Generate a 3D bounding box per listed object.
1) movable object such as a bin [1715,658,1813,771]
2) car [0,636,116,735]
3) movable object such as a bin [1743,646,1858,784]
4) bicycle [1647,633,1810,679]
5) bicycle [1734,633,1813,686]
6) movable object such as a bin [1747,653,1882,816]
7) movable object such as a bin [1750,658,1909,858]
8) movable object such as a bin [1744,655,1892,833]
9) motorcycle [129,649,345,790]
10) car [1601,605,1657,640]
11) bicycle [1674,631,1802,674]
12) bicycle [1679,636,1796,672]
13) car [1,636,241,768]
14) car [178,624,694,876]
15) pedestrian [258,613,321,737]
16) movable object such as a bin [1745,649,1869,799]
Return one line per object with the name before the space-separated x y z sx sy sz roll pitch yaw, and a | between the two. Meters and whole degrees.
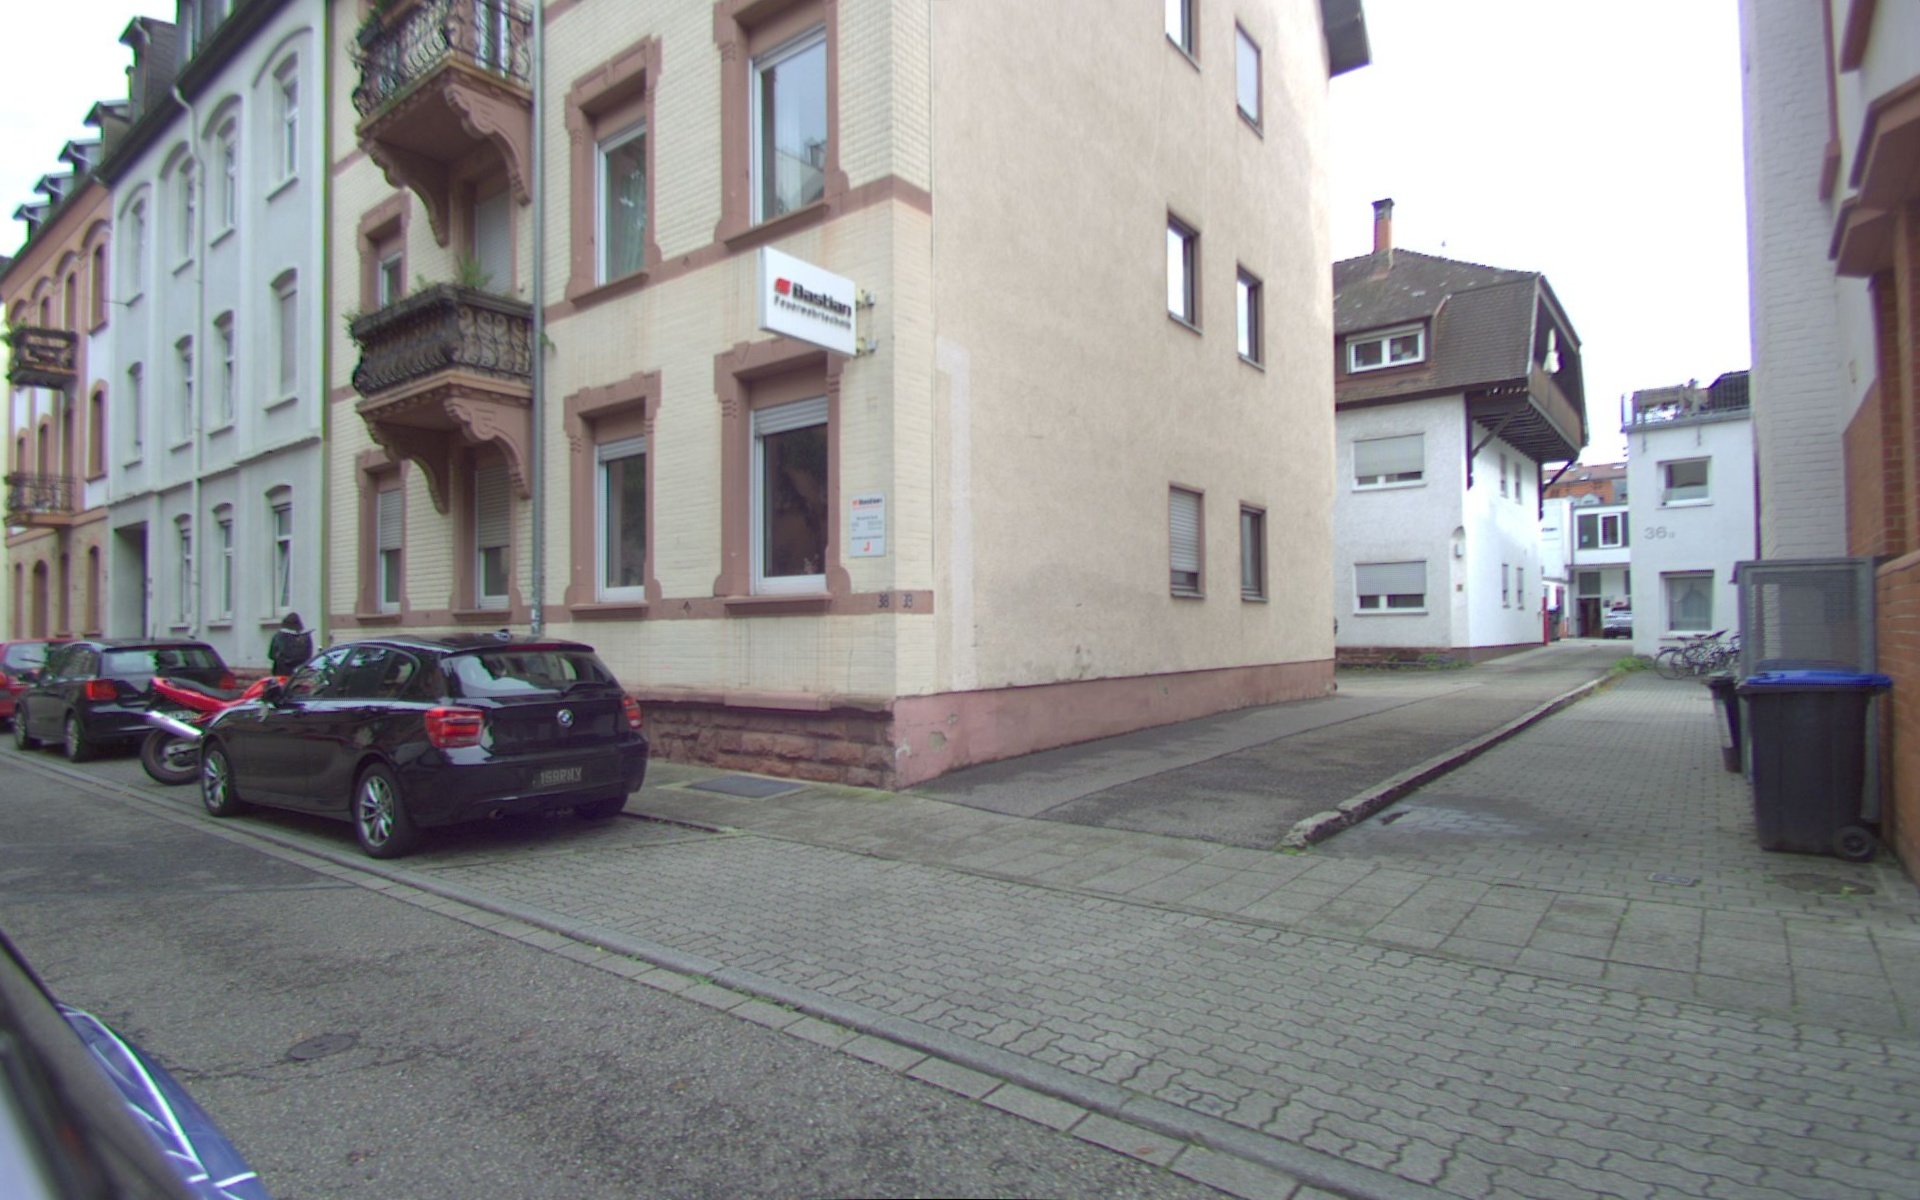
movable object such as a bin | 7.214 1.005 9.094 0.640 0.942 0.602 -3 -2 39
car | -15.416 1.350 16.702 3.337 1.483 1.591 -2 -2 37
movable object such as a bin | 6.966 0.922 8.411 0.678 1.060 0.683 -3 -2 39
bicycle | 17.508 1.260 23.156 2.848 0.998 0.778 0 -1 18
bicycle | 17.074 1.227 21.241 1.816 1.032 0.551 0 -2 -26
movable object such as a bin | 6.054 0.917 7.199 0.667 1.060 0.669 -3 -2 39
movable object such as a bin | 5.112 0.887 5.986 0.646 1.060 0.683 -3 -2 39
movable object such as a bin | 5.623 0.906 6.664 0.678 1.060 0.657 -3 -2 39
motorcycle | -7.059 1.127 9.964 1.685 1.235 0.487 0 -2 -34
car | 31.316 1.051 47.346 1.849 1.519 3.949 -2 -2 38
bicycle | 18.531 1.256 24.188 2.313 0.988 0.658 -2 -2 30
bicycle | 19.125 1.317 24.934 2.222 0.847 0.673 -3 -2 42
car | -10.699 1.195 12.842 3.467 1.393 1.640 -2 -1 38
car | -4.081 0.934 7.684 3.991 1.401 1.883 -2 -2 36
pedestrian | -9.013 0.987 13.607 0.543 1.621 0.571 -3 -2 38
movable object such as a bin | 6.527 0.924 7.826 0.668 1.060 0.683 -3 -2 39
